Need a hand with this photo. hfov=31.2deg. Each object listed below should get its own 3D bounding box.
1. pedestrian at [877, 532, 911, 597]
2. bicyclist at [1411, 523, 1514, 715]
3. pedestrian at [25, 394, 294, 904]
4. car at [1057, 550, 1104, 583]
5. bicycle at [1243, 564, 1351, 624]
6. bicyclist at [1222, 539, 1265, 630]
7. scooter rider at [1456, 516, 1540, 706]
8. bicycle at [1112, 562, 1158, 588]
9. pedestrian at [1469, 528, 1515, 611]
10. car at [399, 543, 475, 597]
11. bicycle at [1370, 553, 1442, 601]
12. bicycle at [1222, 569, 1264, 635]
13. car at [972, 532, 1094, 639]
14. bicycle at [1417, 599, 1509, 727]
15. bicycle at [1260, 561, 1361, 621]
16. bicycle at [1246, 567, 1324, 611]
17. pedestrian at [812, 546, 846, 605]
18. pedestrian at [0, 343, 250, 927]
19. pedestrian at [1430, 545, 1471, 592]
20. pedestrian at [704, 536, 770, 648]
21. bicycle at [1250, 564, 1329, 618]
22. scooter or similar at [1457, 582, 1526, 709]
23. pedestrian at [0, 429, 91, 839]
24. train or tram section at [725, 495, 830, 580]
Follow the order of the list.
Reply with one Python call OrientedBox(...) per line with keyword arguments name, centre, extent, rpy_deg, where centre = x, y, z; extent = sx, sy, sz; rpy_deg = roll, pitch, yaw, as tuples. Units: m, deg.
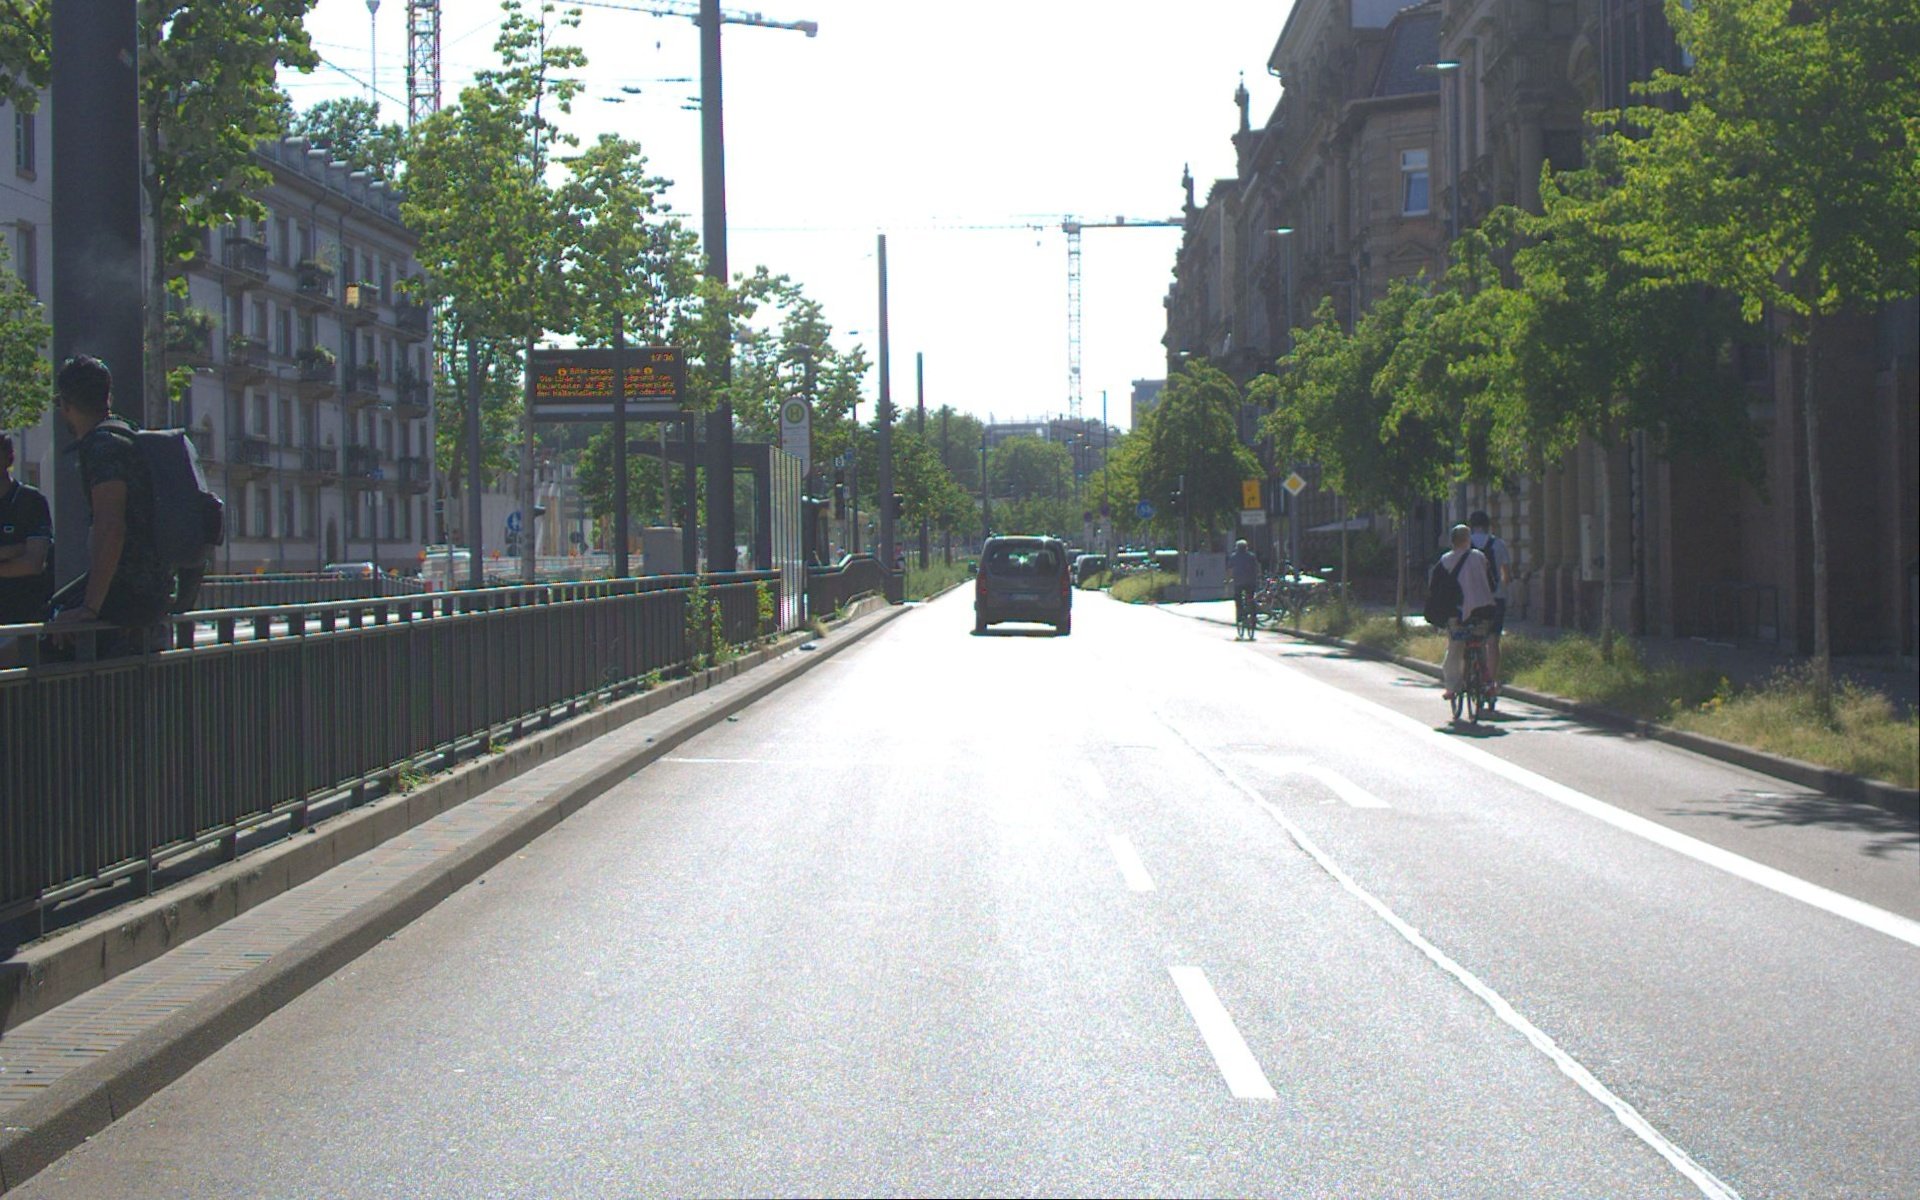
OrientedBox(name="pedestrian", centre=(-1.840, -0.990, 95.546), extent=(0.865, 1.782, 0.971), rpy_deg=(0, 1, -5))
OrientedBox(name="bicyclist", centre=(4.580, 0.165, 31.379), extent=(0.779, 1.705, 0.868), rpy_deg=(1, 1, 0))
OrientedBox(name="pedestrian", centre=(-2.823, 0.165, 12.184), extent=(0.746, 1.742, 0.715), rpy_deg=(-1, 0, 0))
OrientedBox(name="car", centre=(5.537, -1.544, 158.703), extent=(2.028, 1.493, 4.654), rpy_deg=(-1, 1, 1))
OrientedBox(name="bicycle", centre=(6.893, -0.124, 70.352), extent=(1.994, 1.089, 0.847), rpy_deg=(-3, 1, -8))
OrientedBox(name="bicyclist", centre=(5.219, -0.290, 63.373), extent=(0.684, 1.667, 0.922), rpy_deg=(1, 1, 0))
OrientedBox(name="scooter rider", centre=(5.351, 0.105, 34.241), extent=(0.666, 1.854, 0.901), rpy_deg=(1, 1, 0))
OrientedBox(name="bicycle", centre=(6.862, -0.986, 134.854), extent=(1.792, 1.027, 0.527), rpy_deg=(-1, 1, 1))
OrientedBox(name="pedestrian", centre=(9.973, -0.574, 64.468), extent=(0.709, 1.536, 0.927), rpy_deg=(-1, 1, 1))
OrientedBox(name="car", centre=(-17.884, -1.004, 117.687), extent=(1.820, 1.788, 4.089), rpy_deg=(1, 0, 3))
OrientedBox(name="bicycle", centre=(11.523, -0.588, 88.848), extent=(1.818, 1.167, 0.654), rpy_deg=(-1, 4, 5))
OrientedBox(name="bicycle", centre=(5.209, 0.028, 63.328), extent=(0.601, 1.177, 1.869), rpy_deg=(1, 1, 0))
OrientedBox(name="car", centre=(1.359, -0.288, 65.036), extent=(2.200, 1.919, 4.654), rpy_deg=(-1, 1, 1))
OrientedBox(name="bicycle", centre=(4.556, 0.555, 31.221), extent=(0.557, 1.089, 1.792), rpy_deg=(1, 1, 0))
OrientedBox(name="bicycle", centre=(7.308, -0.199, 71.714), extent=(1.995, 1.124, 0.710), rpy_deg=(-3, 1, 2))
OrientedBox(name="bicycle", centre=(7.260, -0.247, 76.727), extent=(1.670, 0.940, 0.606), rpy_deg=(-2, 1, 8))
OrientedBox(name="pedestrian", centre=(-3.420, -0.654, 89.773), extent=(0.813, 1.531, 0.798), rpy_deg=(0, 1, 3))
OrientedBox(name="pedestrian", centre=(-2.839, 0.111, 11.488), extent=(0.746, 1.878, 0.715), rpy_deg=(-1, 0, 0))
OrientedBox(name="pedestrian", centre=(12.855, -0.829, 90.146), extent=(0.849, 1.210, 0.934), rpy_deg=(0, 1, -6))
OrientedBox(name="pedestrian", centre=(-3.091, -0.118, 47.784), extent=(0.813, 1.531, 0.798), rpy_deg=(-1, 1, 3))
OrientedBox(name="bicycle", centre=(6.990, -0.185, 73.033), extent=(1.600, 1.042, 0.607), rpy_deg=(-3, 1, 5))
OrientedBox(name="scooter or similar", centre=(5.292, 0.444, 34.257), extent=(0.490, 1.222, 1.170), rpy_deg=(1, 1, 0))
OrientedBox(name="pedestrian", centre=(-4.213, 0.143, 14.825), extent=(0.709, 1.717, 0.752), rpy_deg=(-1, 0, -1))
OrientedBox(name="train or tram section", centre=(-6.162, -2.080, 117.377), extent=(2.756, 2.733, 9.863), rpy_deg=(1, 0, 2))
